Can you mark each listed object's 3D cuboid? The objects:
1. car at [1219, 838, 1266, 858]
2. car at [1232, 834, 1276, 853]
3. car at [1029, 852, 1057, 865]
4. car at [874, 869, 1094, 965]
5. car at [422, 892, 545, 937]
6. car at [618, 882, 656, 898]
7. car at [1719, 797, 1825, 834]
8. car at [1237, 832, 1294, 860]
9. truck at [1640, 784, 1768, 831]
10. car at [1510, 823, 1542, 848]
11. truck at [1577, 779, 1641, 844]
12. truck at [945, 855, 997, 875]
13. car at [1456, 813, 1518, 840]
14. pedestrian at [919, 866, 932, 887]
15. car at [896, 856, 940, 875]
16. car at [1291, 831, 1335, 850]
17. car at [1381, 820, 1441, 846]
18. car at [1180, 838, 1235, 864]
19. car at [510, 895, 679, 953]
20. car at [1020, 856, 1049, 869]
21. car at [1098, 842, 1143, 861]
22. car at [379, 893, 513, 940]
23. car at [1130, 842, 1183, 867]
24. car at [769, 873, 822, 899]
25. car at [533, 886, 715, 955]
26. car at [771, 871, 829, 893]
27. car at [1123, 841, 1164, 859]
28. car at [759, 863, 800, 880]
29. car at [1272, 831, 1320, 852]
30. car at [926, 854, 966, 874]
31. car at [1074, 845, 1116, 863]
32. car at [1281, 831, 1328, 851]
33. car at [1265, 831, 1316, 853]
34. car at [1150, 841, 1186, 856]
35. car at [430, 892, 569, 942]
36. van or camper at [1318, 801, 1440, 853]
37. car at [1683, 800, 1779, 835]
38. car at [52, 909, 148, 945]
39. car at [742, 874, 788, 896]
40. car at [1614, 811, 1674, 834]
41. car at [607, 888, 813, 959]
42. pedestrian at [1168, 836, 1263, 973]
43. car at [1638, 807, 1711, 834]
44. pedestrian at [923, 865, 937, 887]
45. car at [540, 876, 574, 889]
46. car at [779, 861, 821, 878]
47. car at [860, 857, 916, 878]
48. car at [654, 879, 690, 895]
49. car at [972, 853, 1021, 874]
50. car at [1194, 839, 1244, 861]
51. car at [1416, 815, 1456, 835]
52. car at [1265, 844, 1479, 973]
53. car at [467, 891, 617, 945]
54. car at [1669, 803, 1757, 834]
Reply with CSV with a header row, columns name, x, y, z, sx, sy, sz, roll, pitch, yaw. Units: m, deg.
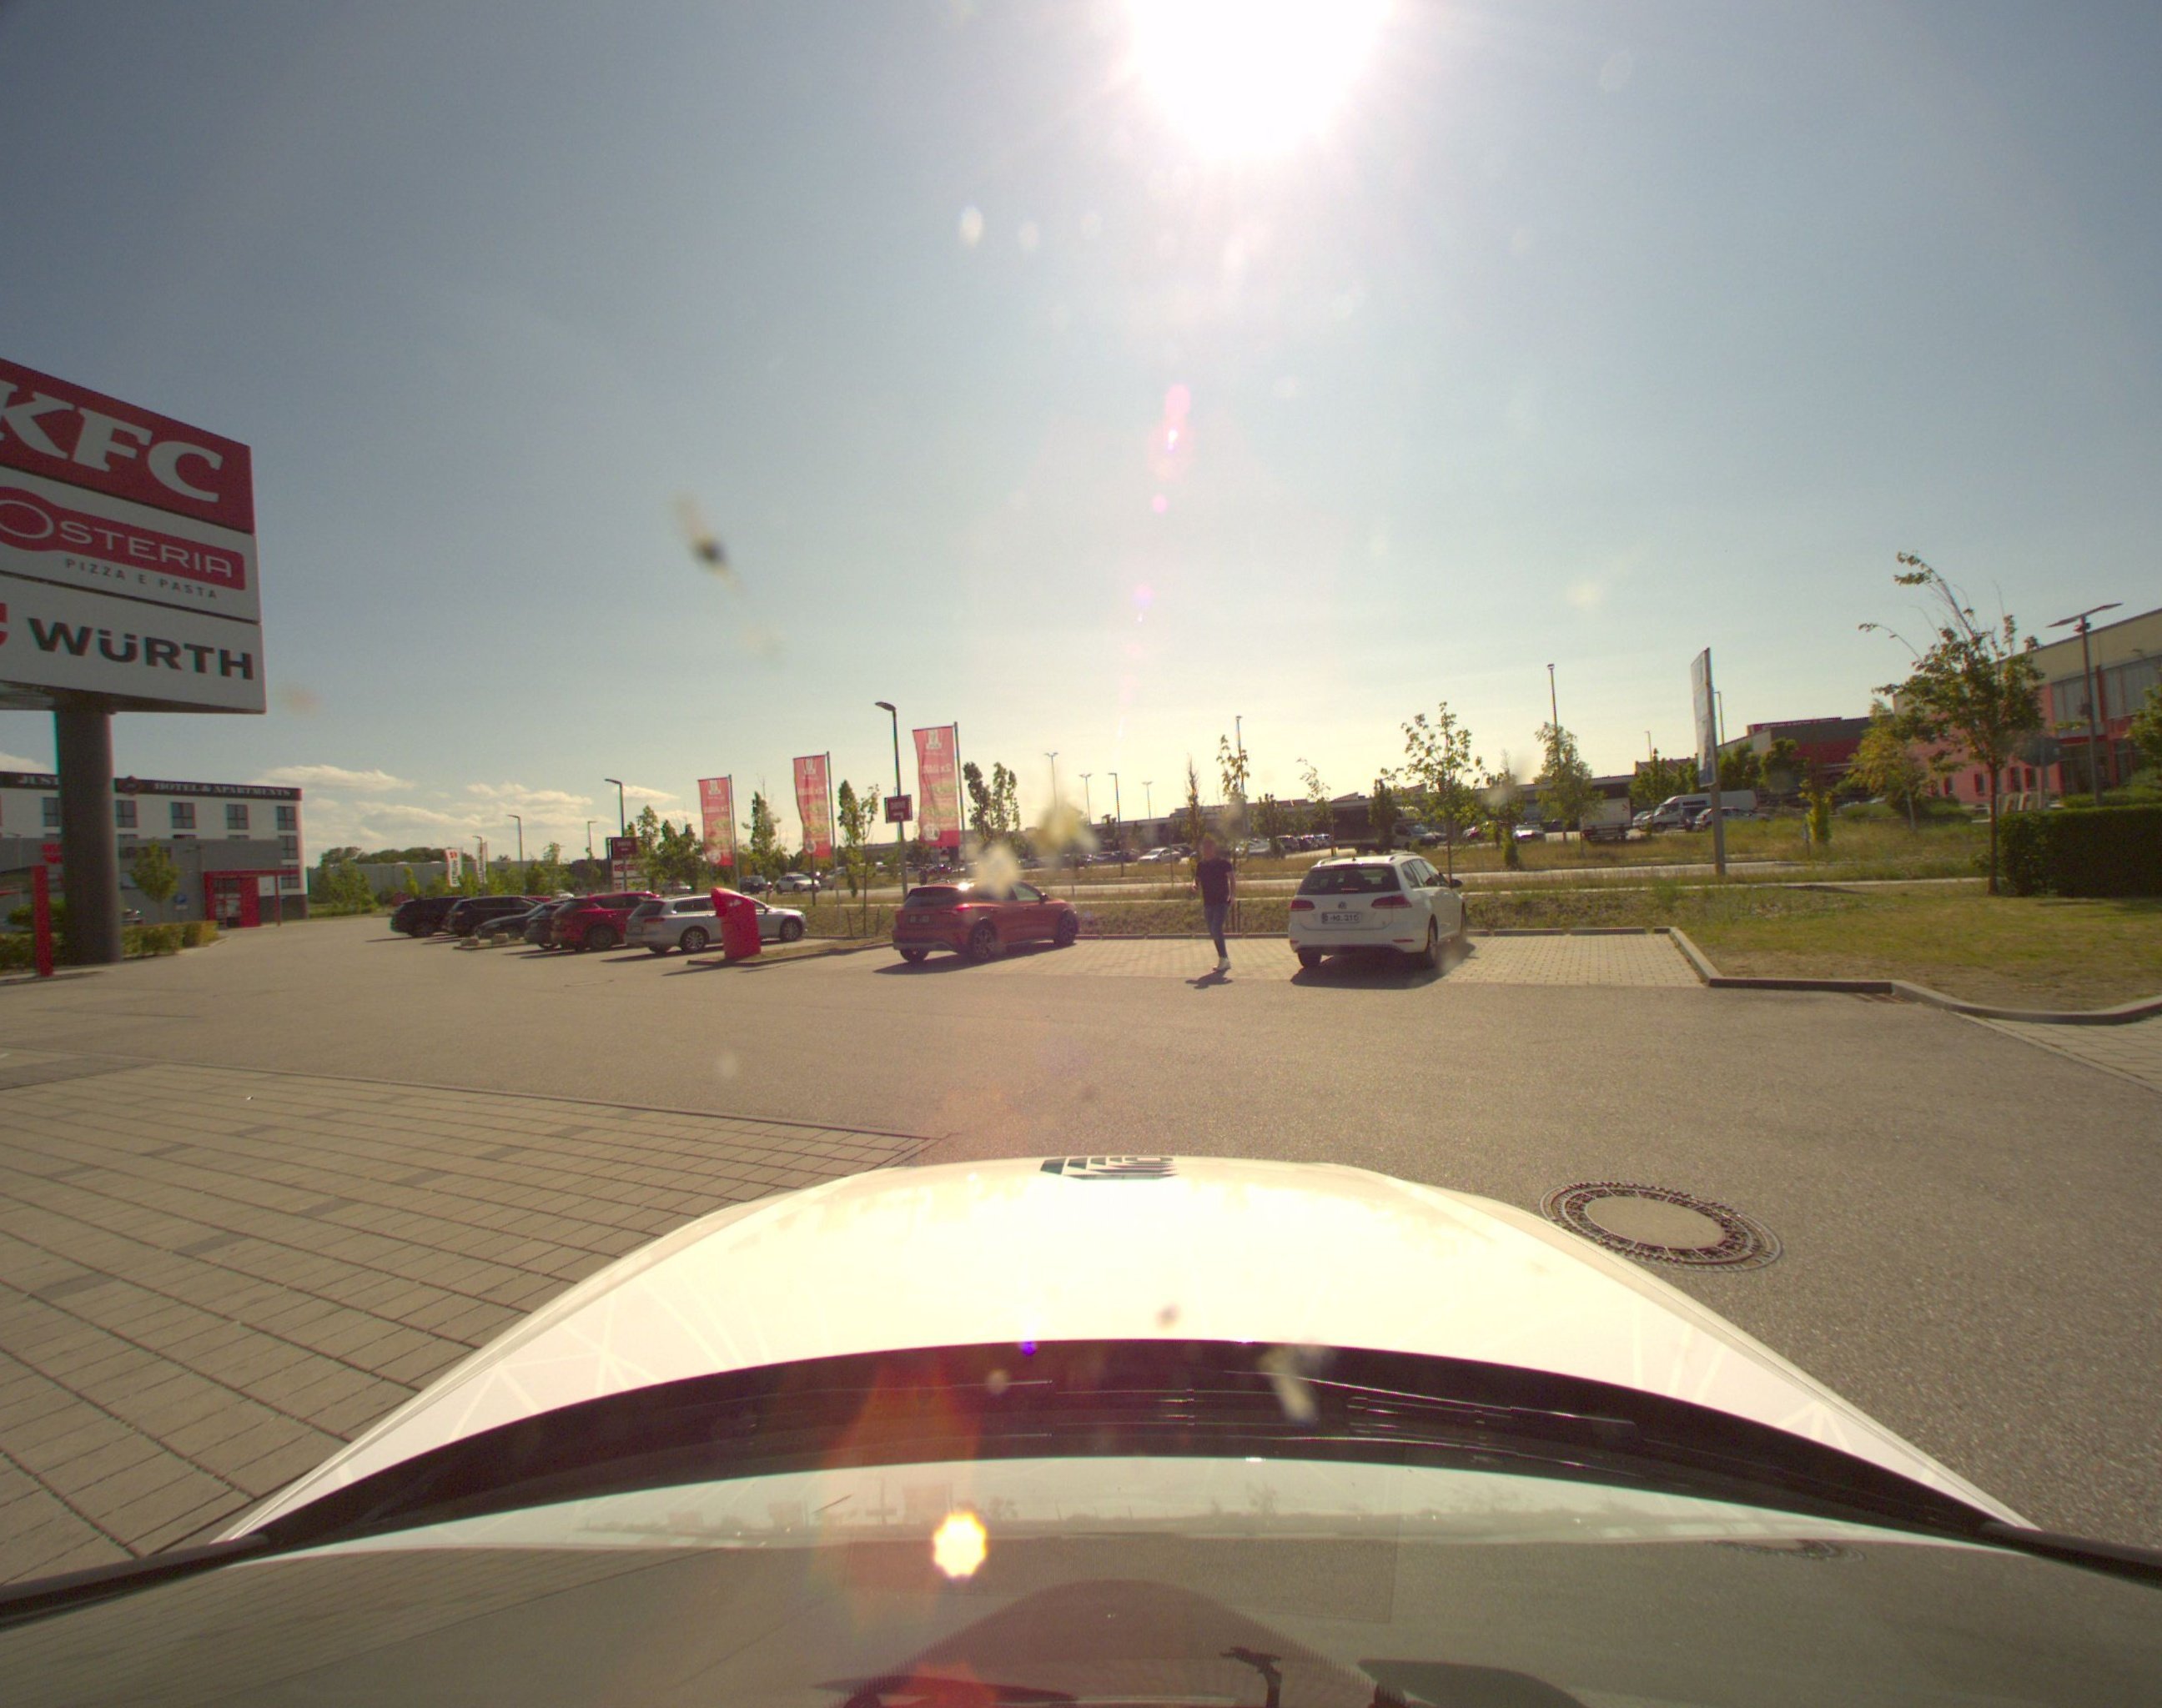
name,x,y,z,sx,sy,sz,roll,pitch,yaw
car,17.139,-0.655,86.413,4.350,1.855,1.967,-3,0,25
car,19.330,-1.141,91.012,4.350,1.855,1.967,-3,0,25
car,-5.227,0.555,111.678,3.435,1.552,1.675,-3,0,20
car,-1.710,1.144,15.903,1.809,1.469,4.381,-4,-2,33
car,-26.631,2.655,36.397,1.871,1.609,4.107,-3,-1,41
car,-46.225,3.776,84.792,4.597,1.526,2.013,-3,0,42
car,41.142,-2.273,48.626,4.350,1.855,1.967,-3,0,25
car,13.894,-0.595,61.259,4.429,1.855,1.932,-3,0,-42
truck,44.745,-3.260,58.709,6.971,2.814,1.967,-3,0,25
car,28.148,-1.192,51.473,1.634,1.459,3.992,-3,0,30
truck,31.553,-2.485,48.868,2.733,3.480,6.876,-3,0,30
truck,-12.001,1.226,89.019,1.975,1.863,5.466,-3,0,45
car,31.809,-2.156,63.933,4.214,1.855,1.881,-3,0,25
pedestrian,-11.922,1.701,62.355,0.629,1.556,0.659,-3,0,-39
car,-19.775,1.368,98.855,1.974,2.013,5.213,-3,0,35
car,25.829,-1.509,90.732,4.350,1.855,1.967,-3,0,25
car,29.905,-1.918,73.972,4.874,2.013,2.093,-3,0,21
car,10.135,-0.234,64.983,4.429,1.855,1.932,-3,0,-42
car,-15.409,2.179,25.986,1.750,1.410,4.234,-4,-1,35
car,-6.184,1.189,109.102,3.435,1.552,1.675,-3,0,20
car,4.444,-0.300,91.958,4.516,1.855,1.967,-3,0,25
car,-29.301,2.824,37.687,1.871,1.760,4.618,-4,-1,42
car,6.384,0.040,68.524,4.310,1.855,1.976,-3,0,-42
car,-22.881,2.584,65.218,4.350,1.845,2.013,-3,0,40
car,-13.527,1.912,24.323,1.925,1.638,4.259,-4,-1,37
car,-25.391,2.563,73.553,5.157,1.731,2.001,-3,0,29
car,7.605,-0.497,99.195,4.516,1.855,1.967,-3,0,25
car,-42.451,2.417,114.732,1.974,2.013,5.109,-3,0,35
car,22.018,-1.274,83.279,4.350,1.855,1.967,-3,0,25
car,-15.796,1.150,95.606,4.113,2.013,1.976,-3,0,-42
car,1.862,0.008,105.078,4.874,2.013,2.093,-3,0,21
car,23.397,-1.357,85.246,4.350,1.855,1.967,-3,0,25
car,20.214,-1.161,78.681,4.350,1.855,1.967,-3,0,25
car,11.917,-0.770,111.035,4.350,1.855,1.967,-3,0,25
car,-24.372,2.614,34.281,1.871,1.703,4.360,-4,-1,37
van or camper,20.282,-1.767,55.924,2.428,3.101,7.974,-3,0,-31
car,41.121,-2.280,51.667,4.350,1.855,1.967,-3,0,25
car,-61.445,4.557,51.016,4.825,1.880,2.087,-3,0,17
car,-26.579,2.602,68.525,1.890,1.664,4.546,-3,0,-44
car,52.895,-2.918,76.599,4.350,1.855,1.967,-3,0,25
car,-9.654,1.757,21.544,1.718,1.413,4.631,-4,-1,37
pedestrian,1.879,0.684,11.440,0.995,1.809,0.720,-3,-2,-23
car,47.556,-2.678,65.350,4.350,1.855,1.967,-3,0,25
pedestrian,-11.429,1.670,61.672,0.696,1.599,0.748,-3,0,-39
car,-75.048,4.044,116.668,1.693,1.597,3.689,-3,0,26
car,-38.293,2.122,111.009,1.974,2.013,5.109,-3,0,35
car,-24.093,1.711,102.041,2.780,2.237,6.352,-3,0,38
car,-43.430,3.555,86.434,4.598,1.504,2.012,-3,0,44
car,-8.795,0.995,85.068,4.761,1.846,1.975,-3,0,-45
car,13.436,-0.408,79.230,4.350,1.855,1.967,-3,0,25
car,40.563,-3.262,92.930,3.949,2.013,2.012,-3,0,28
car,4.386,0.660,11.773,1.809,1.469,4.510,-4,-2,34
car,-20.612,2.399,31.289,1.872,1.638,4.478,-4,-1,44
car,43.492,-2.425,56.158,4.350,1.855,1.967,-3,0,25
